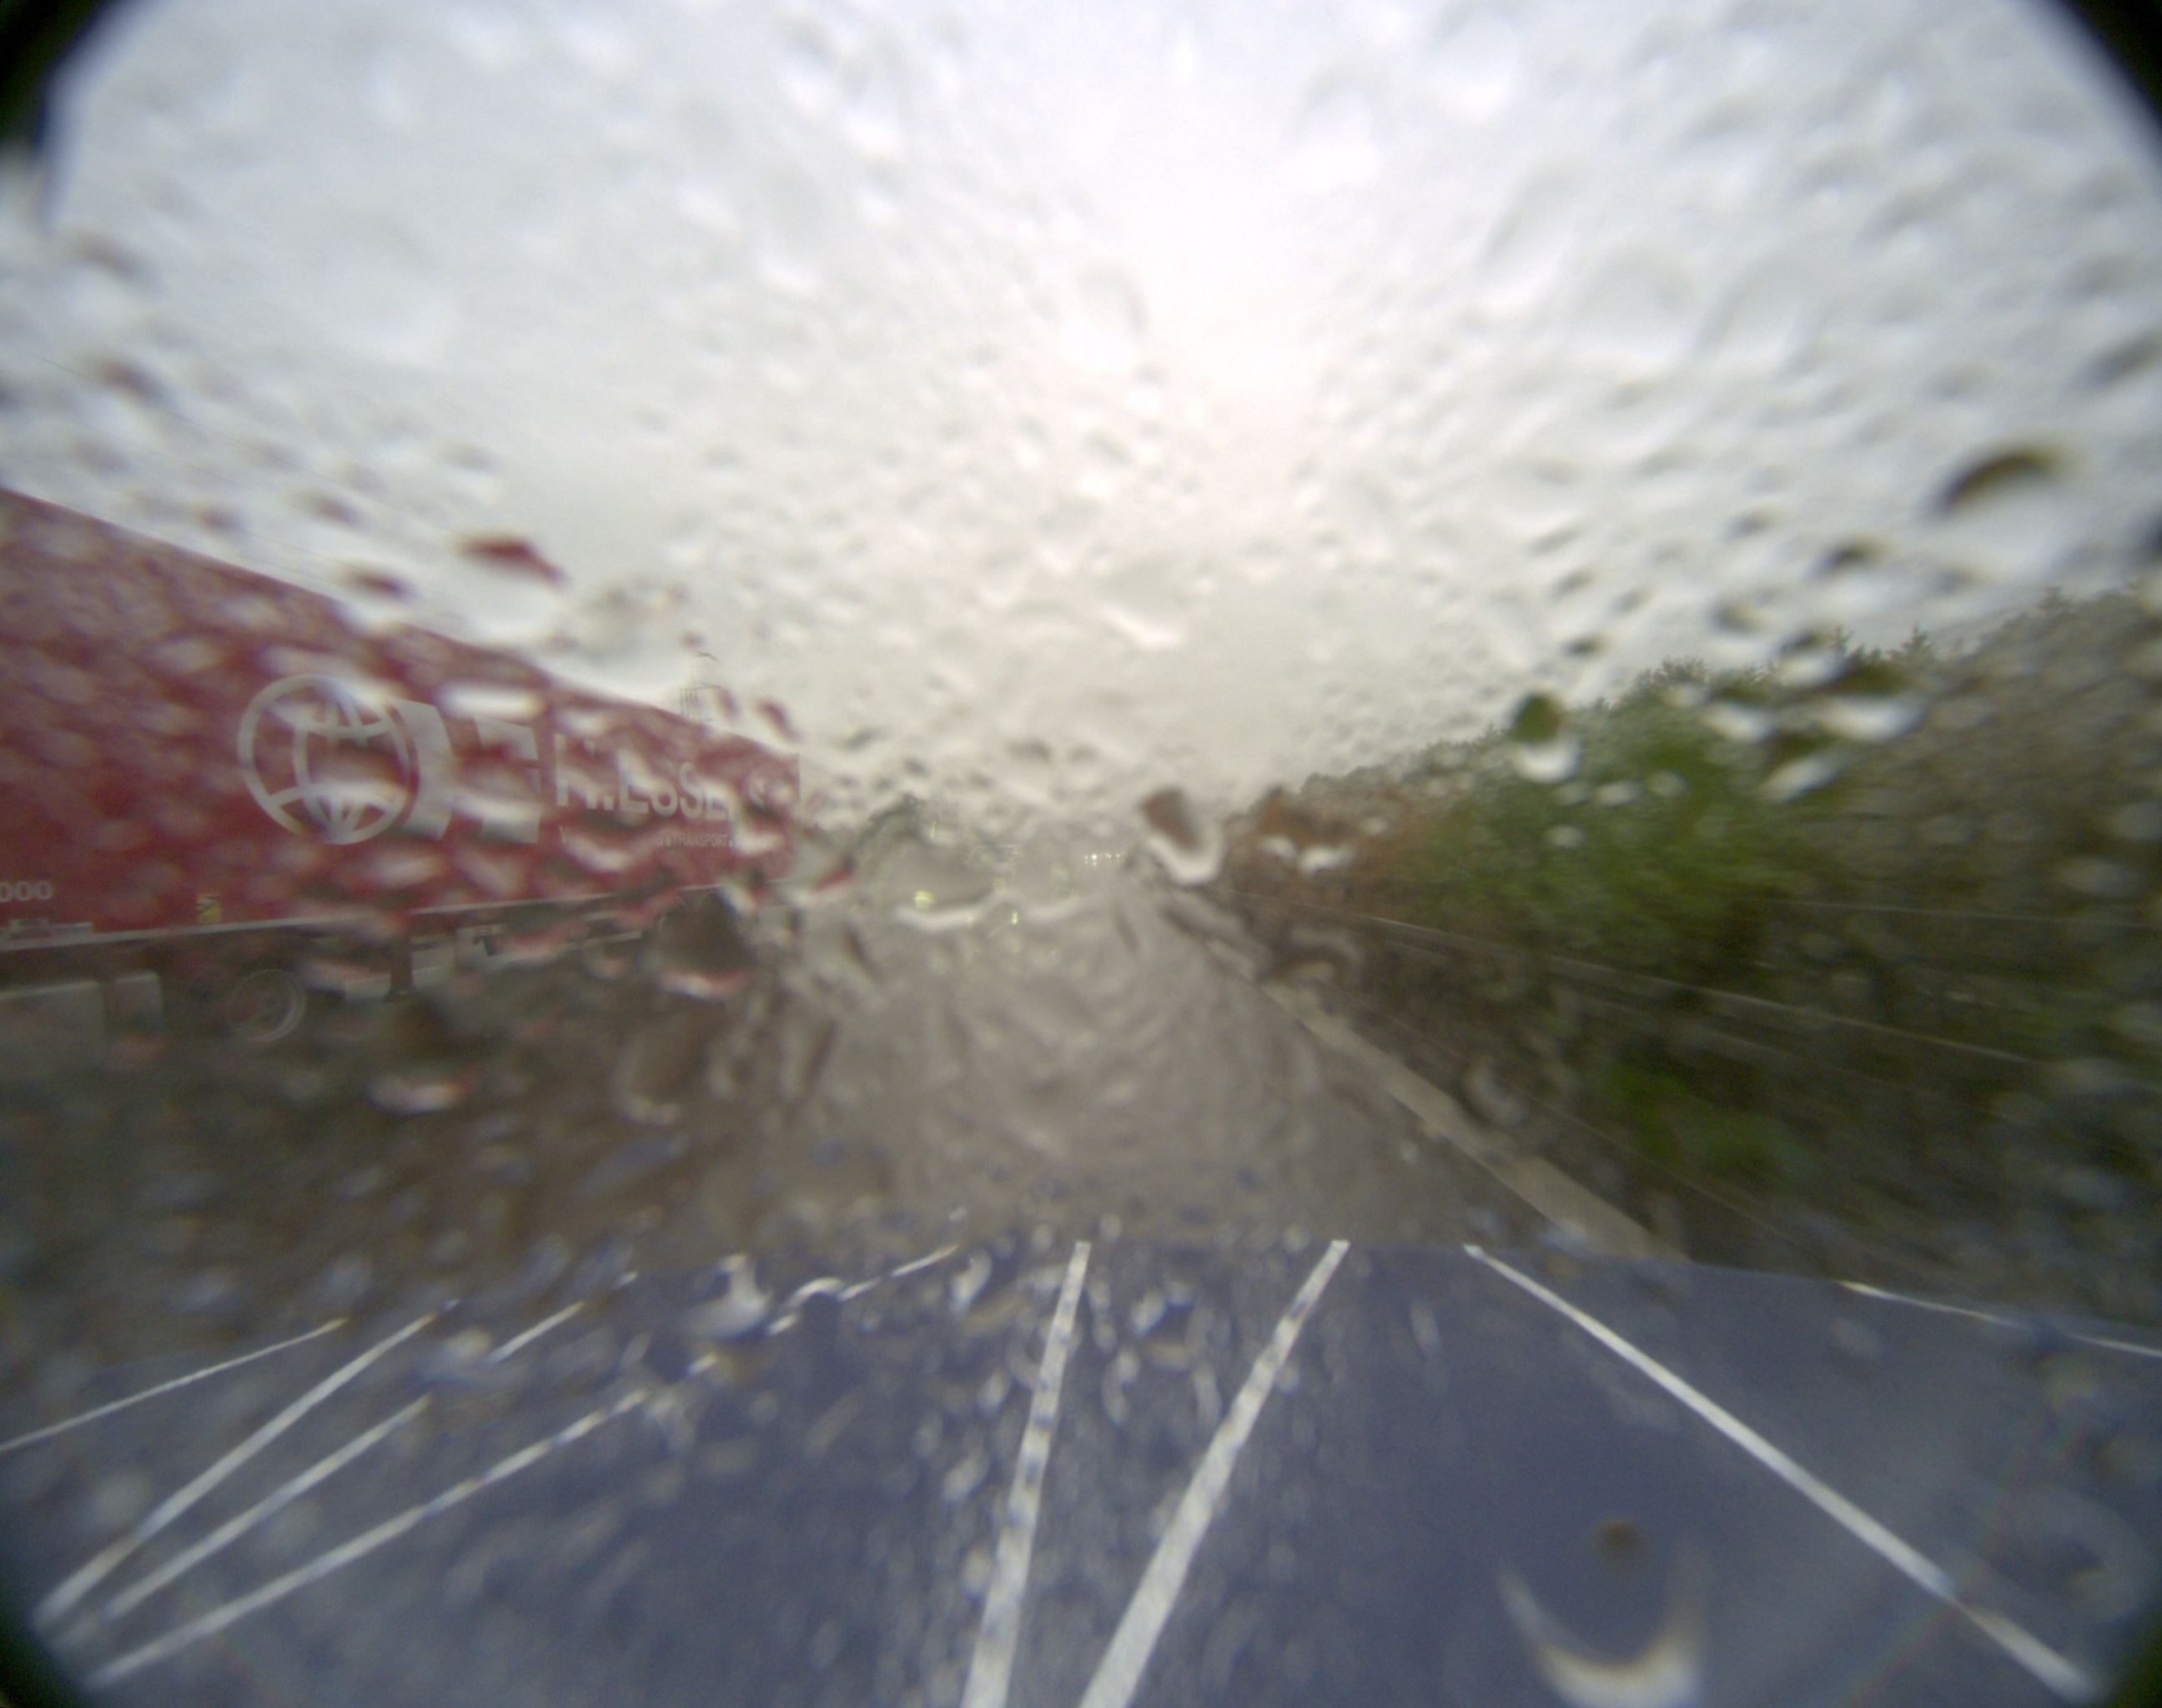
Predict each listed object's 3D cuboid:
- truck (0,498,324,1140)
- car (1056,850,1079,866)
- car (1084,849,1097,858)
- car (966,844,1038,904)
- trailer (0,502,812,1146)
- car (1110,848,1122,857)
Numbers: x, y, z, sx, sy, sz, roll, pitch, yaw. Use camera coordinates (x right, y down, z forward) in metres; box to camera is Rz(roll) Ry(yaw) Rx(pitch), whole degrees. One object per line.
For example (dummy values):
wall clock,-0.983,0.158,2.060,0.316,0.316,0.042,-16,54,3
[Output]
truck,-7.942,-0.177,3.777,2.626,3.932,5.433,-2,1,2
car,-1.302,0.402,75.866,1.768,1.448,3.960,-5,0,6
car,1.766,-0.076,137.544,1.768,1.448,3.961,-5,0,7
car,-2.823,0.679,28.265,1.892,1.873,5.009,-5,0,1
trailer,-7.792,-0.224,10.933,2.626,3.932,13.629,-2,1,1
car,6.406,-0.266,139.411,1.768,1.448,3.961,-5,0,7
